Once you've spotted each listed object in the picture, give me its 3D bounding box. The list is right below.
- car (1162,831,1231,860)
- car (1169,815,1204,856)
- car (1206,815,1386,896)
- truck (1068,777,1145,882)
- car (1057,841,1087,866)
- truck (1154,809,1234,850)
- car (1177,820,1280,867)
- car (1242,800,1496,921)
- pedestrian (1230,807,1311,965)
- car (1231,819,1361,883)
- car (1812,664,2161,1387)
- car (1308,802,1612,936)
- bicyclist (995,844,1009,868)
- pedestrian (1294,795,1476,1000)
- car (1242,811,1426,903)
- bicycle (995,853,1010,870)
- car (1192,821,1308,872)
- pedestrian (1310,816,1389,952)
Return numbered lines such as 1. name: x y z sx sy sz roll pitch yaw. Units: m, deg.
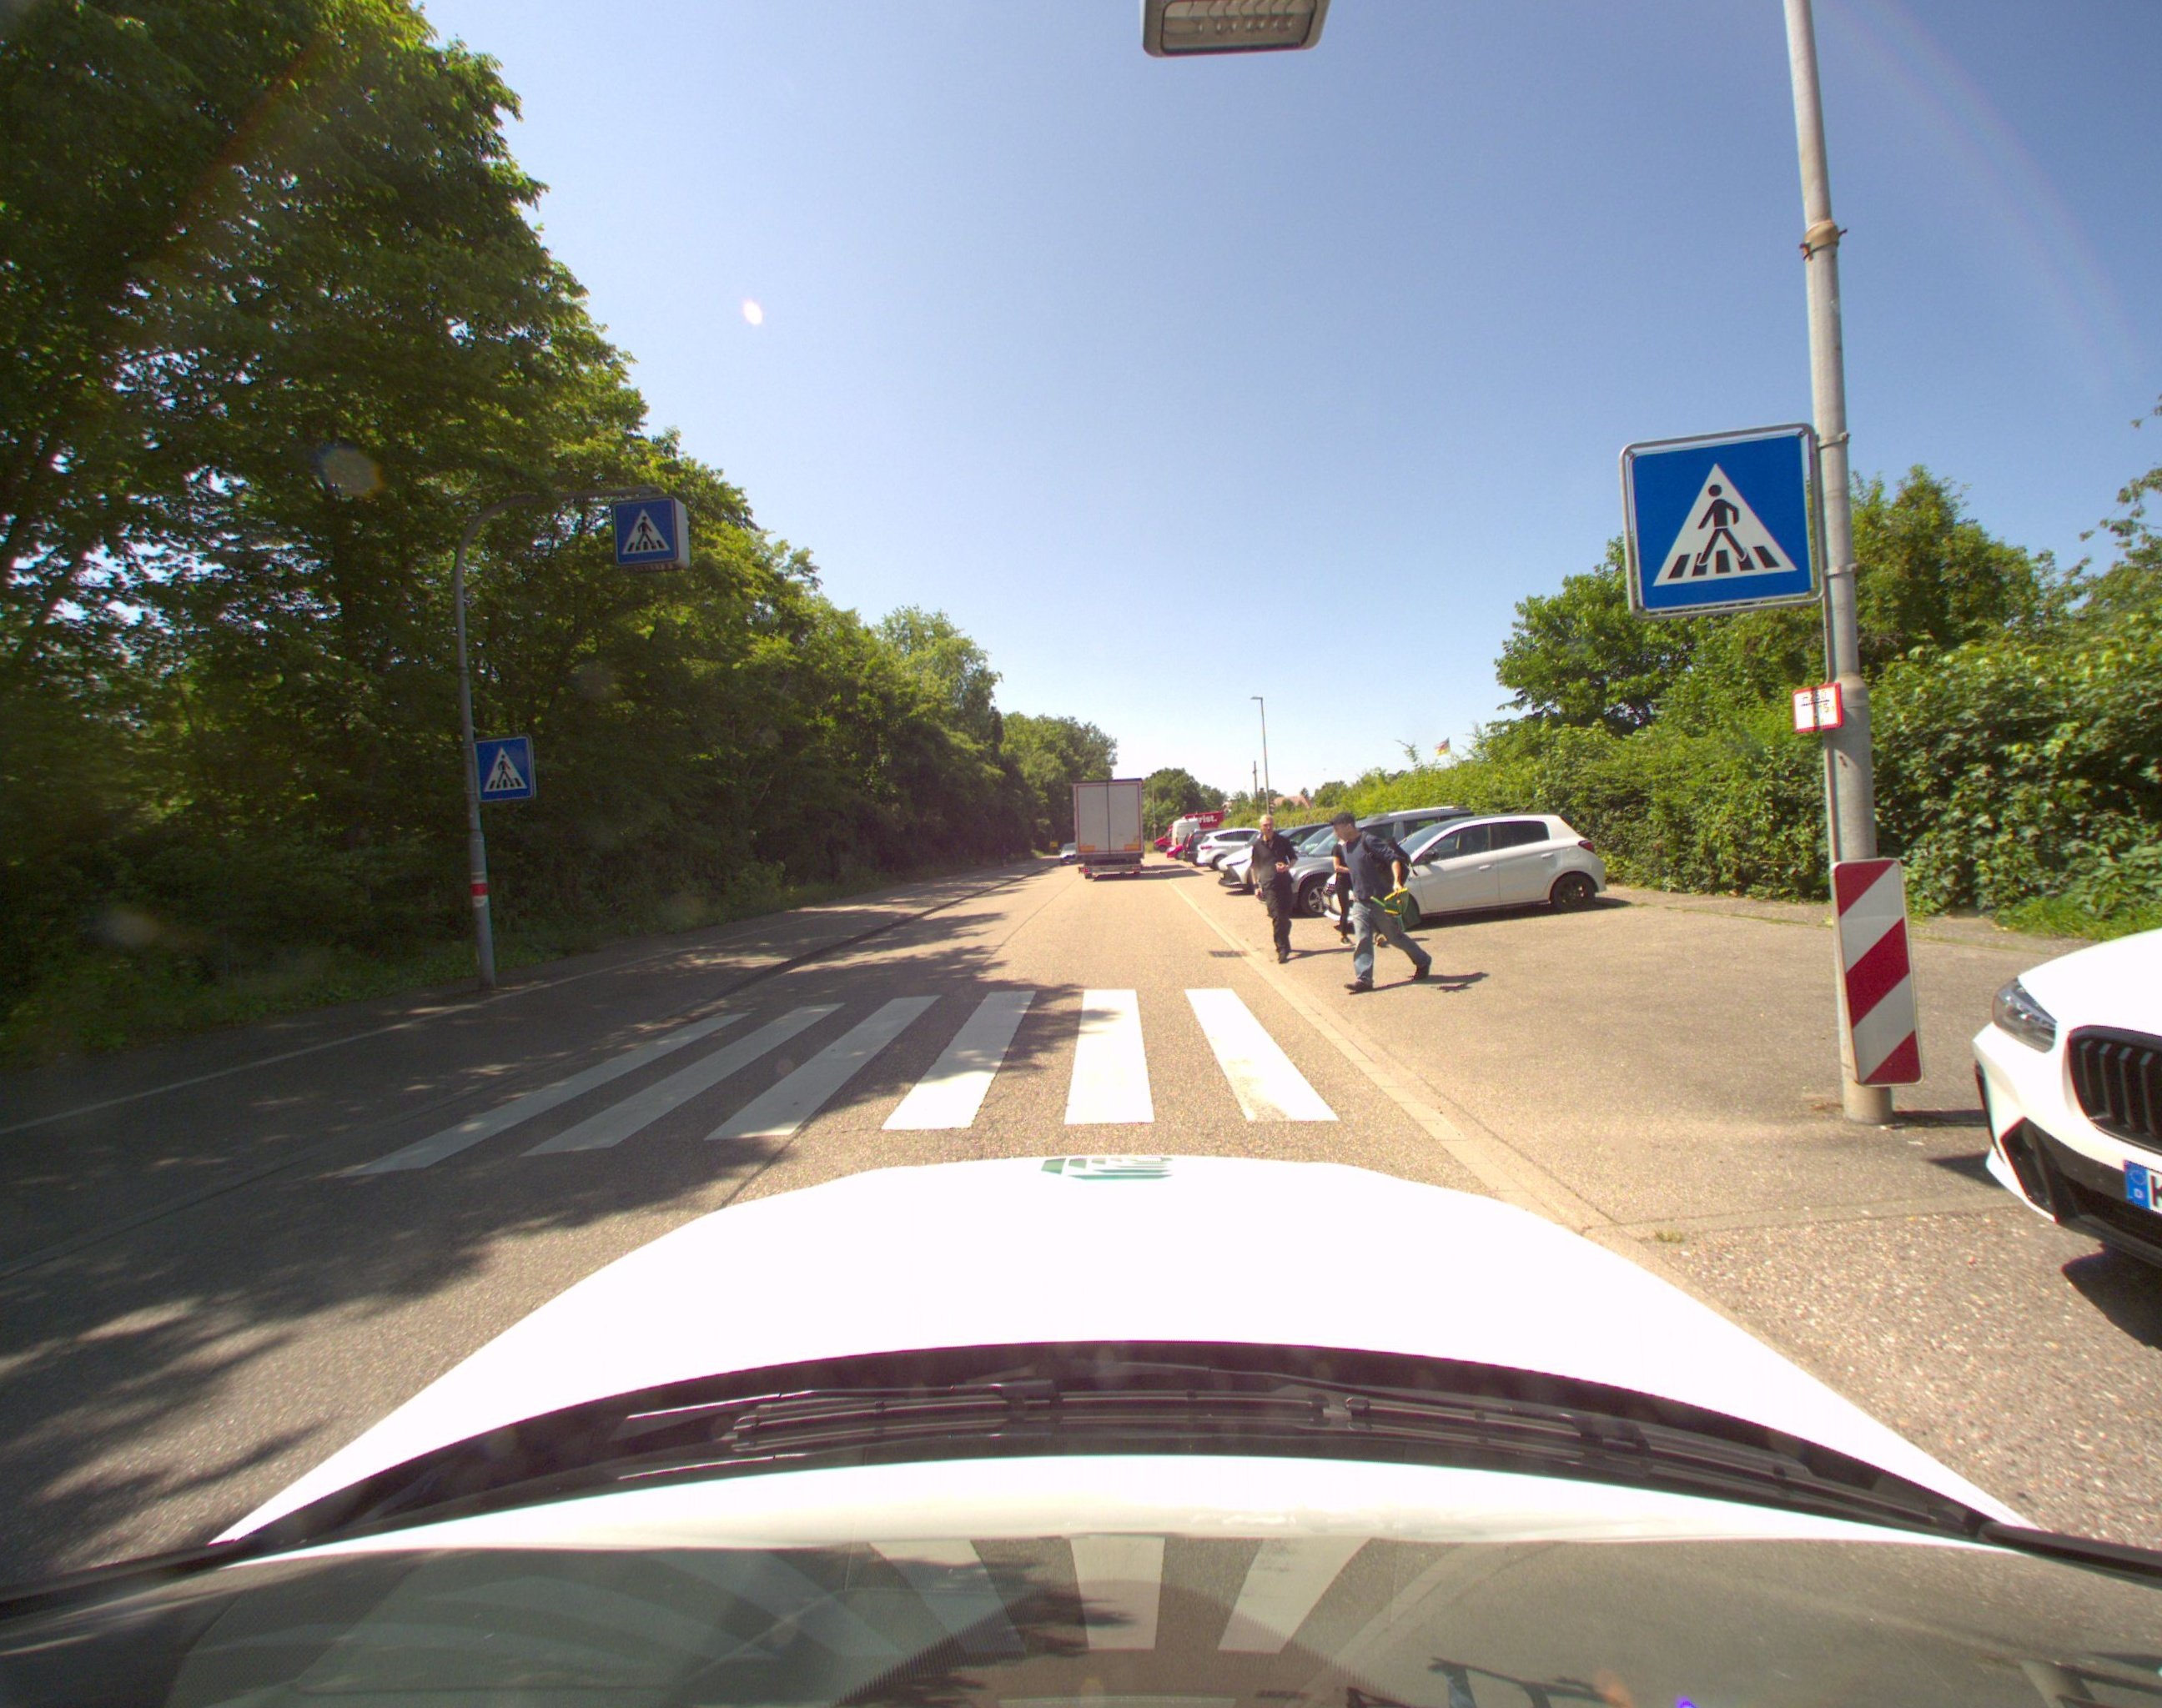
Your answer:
1. car: 7.398 -0.550 52.302 4.042 1.434 1.835 -6 1 -1
2. car: 8.069 -1.435 62.863 1.946 2.733 7.175 -6 1 4
3. car: 5.411 0.016 20.808 3.954 1.522 1.862 -7 1 -4
4. truck: 1.336 -1.017 36.731 2.722 3.745 13.258 -2 1 3
5. car: -0.612 -0.084 59.430 1.884 1.532 4.198 -7 1 1
6. truck: 10.689 -2.280 76.825 7.087 3.439 2.339 -3 2 13
7. car: 7.088 -0.512 39.434 4.441 1.804 1.951 -6 0 -2
8. car: 5.204 0.089 15.015 3.952 1.640 1.662 -7 1 -3
9. pedestrian: 2.436 0.379 10.372 0.775 1.864 1.091 -5 1 17
10. car: 6.208 -0.095 23.782 3.371 1.503 1.590 -5 1 5
11. car: 4.739 0.228 1.782 4.436 1.729 1.852 -5 0 2
12. car: 5.462 0.193 12.122 3.671 1.450 1.613 -7 1 6
13. bicyclist: -5.250 0.106 54.333 0.645 1.565 0.838 -3 1 6
14. pedestrian: 2.933 0.384 7.892 1.163 1.751 1.012 -6 1 -34
15. car: 5.499 0.050 17.935 3.445 1.527 1.538 -7 1 -3
16. bicycle: -5.226 0.489 54.333 0.558 1.027 1.842 -3 1 7
17. car: 6.831 -0.319 33.225 4.262 1.578 1.765 -6 1 0
18. pedestrian: 3.429 0.360 10.426 0.772 1.611 0.900 -6 1 17
